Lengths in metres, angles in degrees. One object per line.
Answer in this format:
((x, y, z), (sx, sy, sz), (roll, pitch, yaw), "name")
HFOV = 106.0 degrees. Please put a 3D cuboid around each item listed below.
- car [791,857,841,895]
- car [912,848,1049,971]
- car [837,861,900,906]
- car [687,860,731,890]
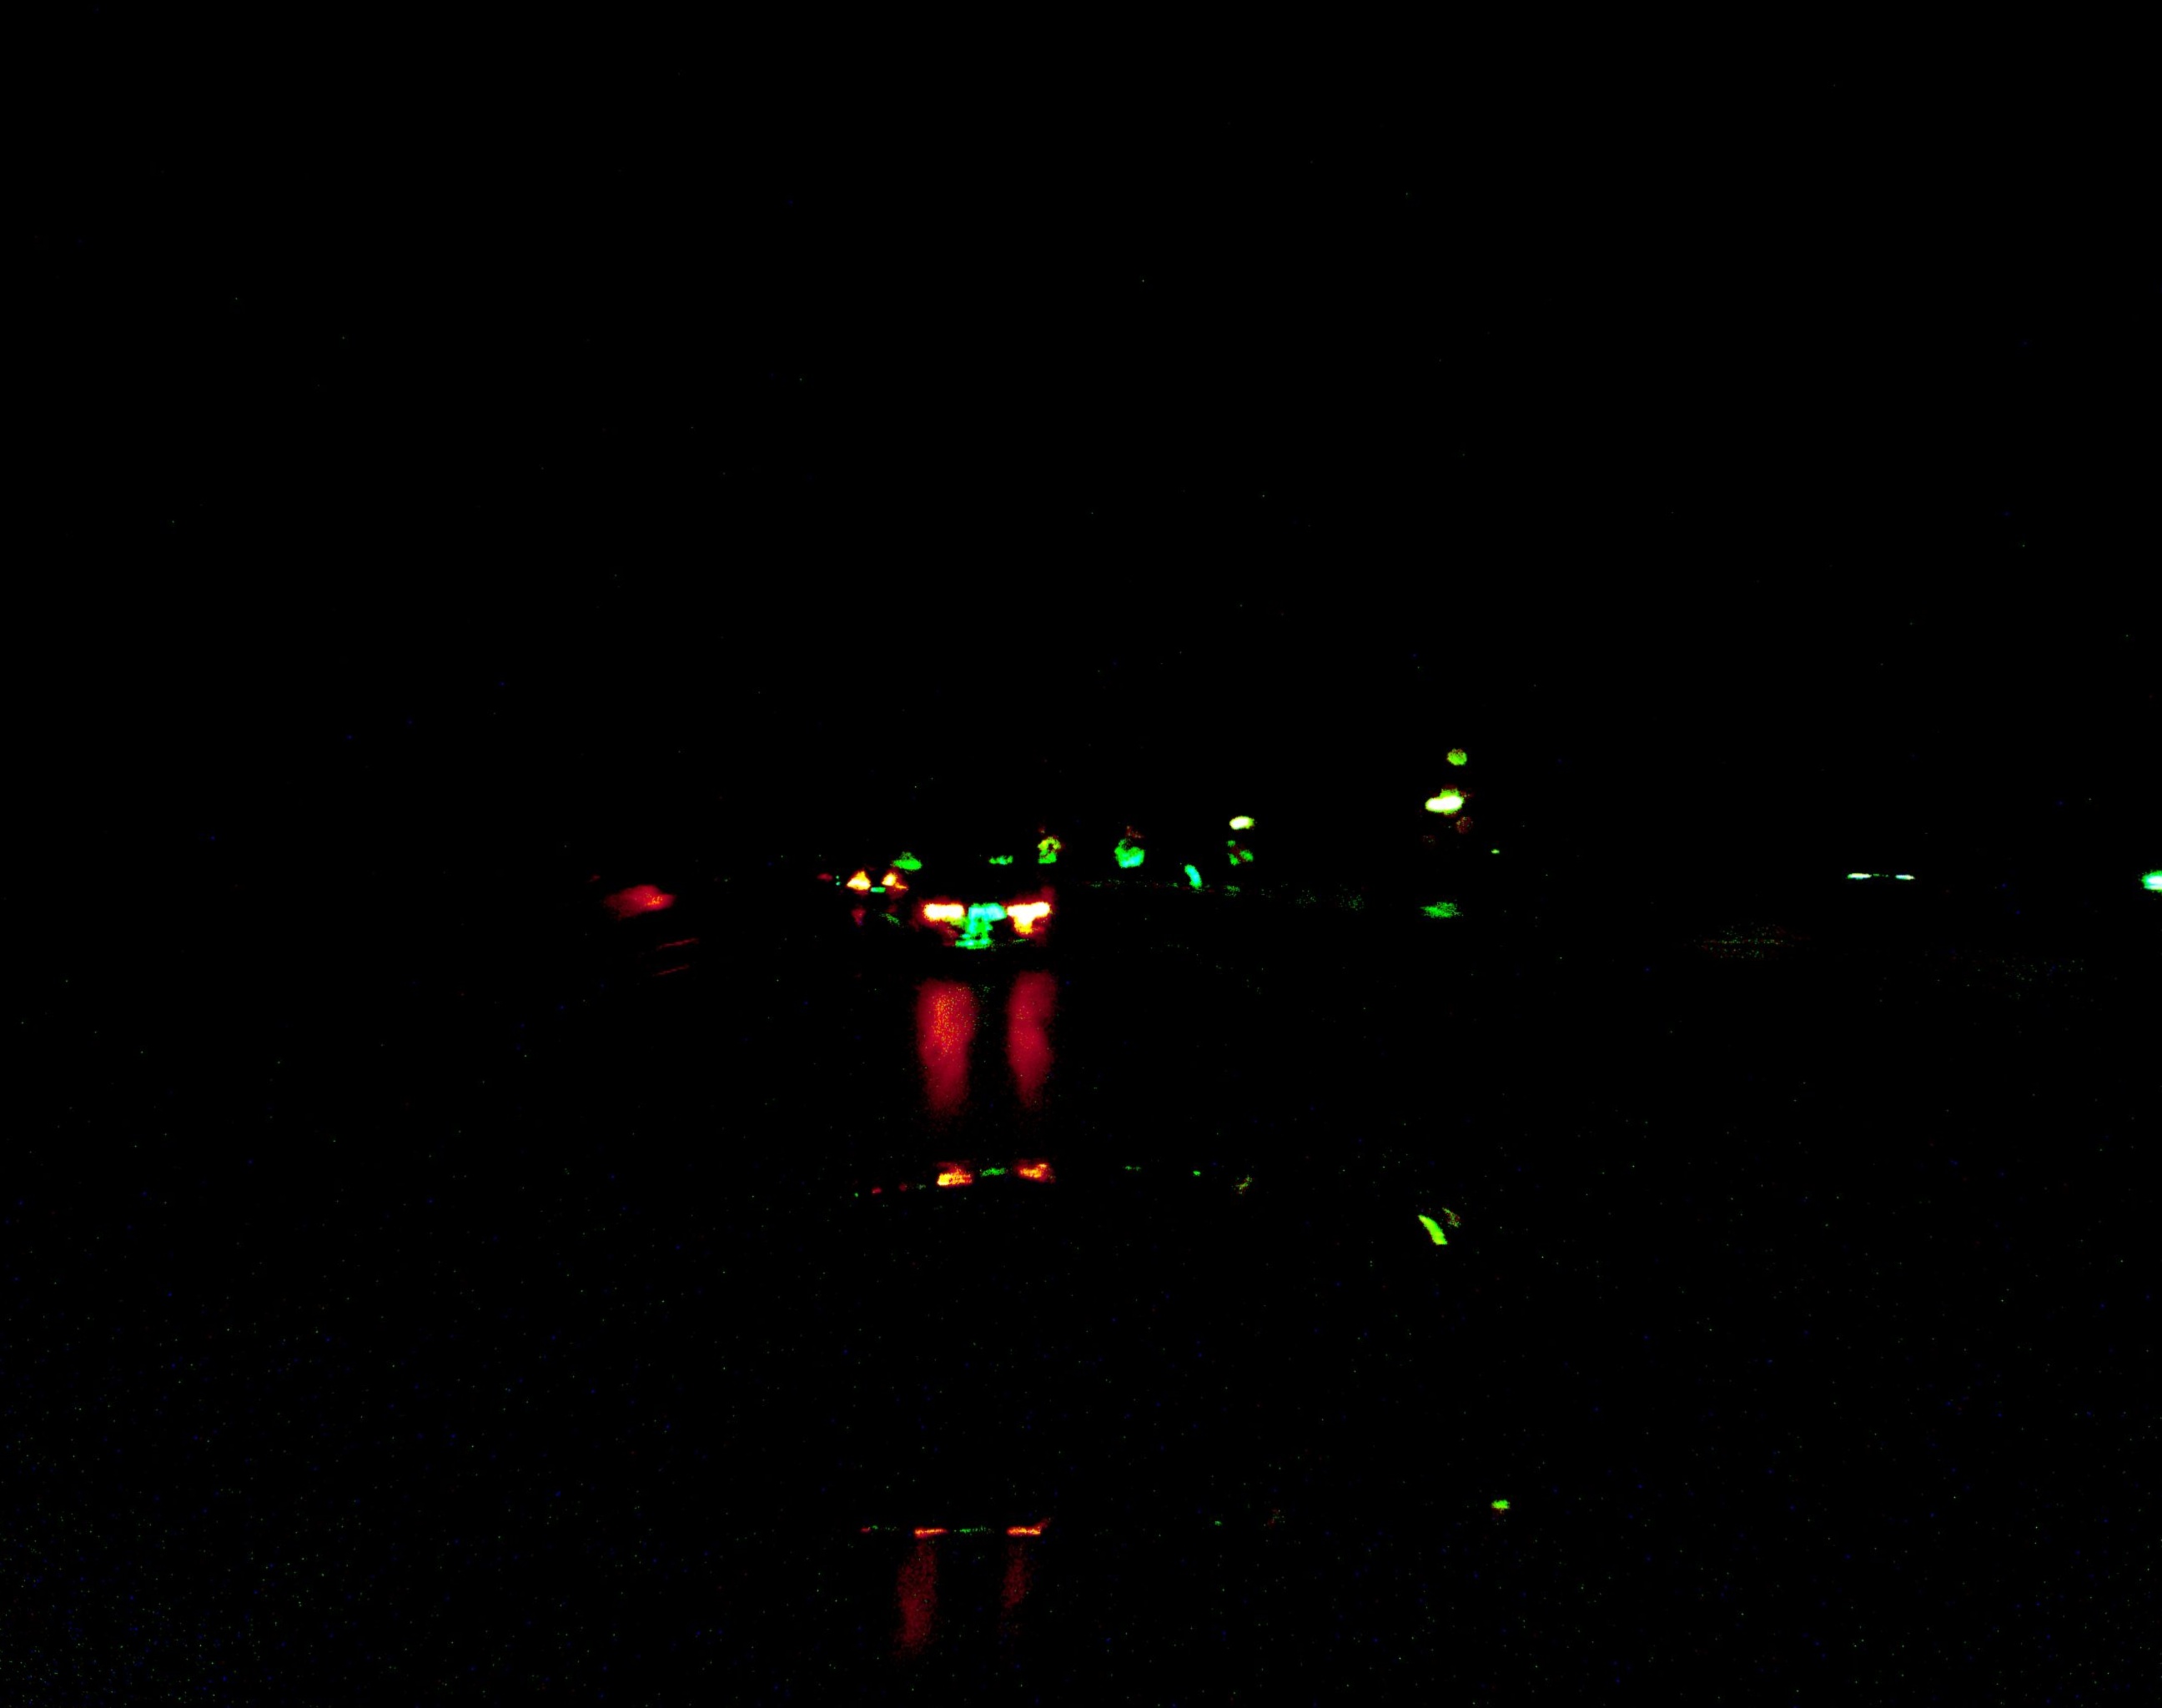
((-15.259, 1.241, 46.796), (1.907, 2.040, 4.006), (0, -1, -30), "car")
((-1.699, 0.780, 13.366), (1.860, 1.647, 4.056), (-2, 0, -9), "car")
((-8.921, 1.171, 33.970), (1.904, 1.720, 4.012), (0, 0, -25), "car")
((-26.165, 1.426, 57.203), (1.910, 1.998, 3.999), (2, -1, -38), "car")
